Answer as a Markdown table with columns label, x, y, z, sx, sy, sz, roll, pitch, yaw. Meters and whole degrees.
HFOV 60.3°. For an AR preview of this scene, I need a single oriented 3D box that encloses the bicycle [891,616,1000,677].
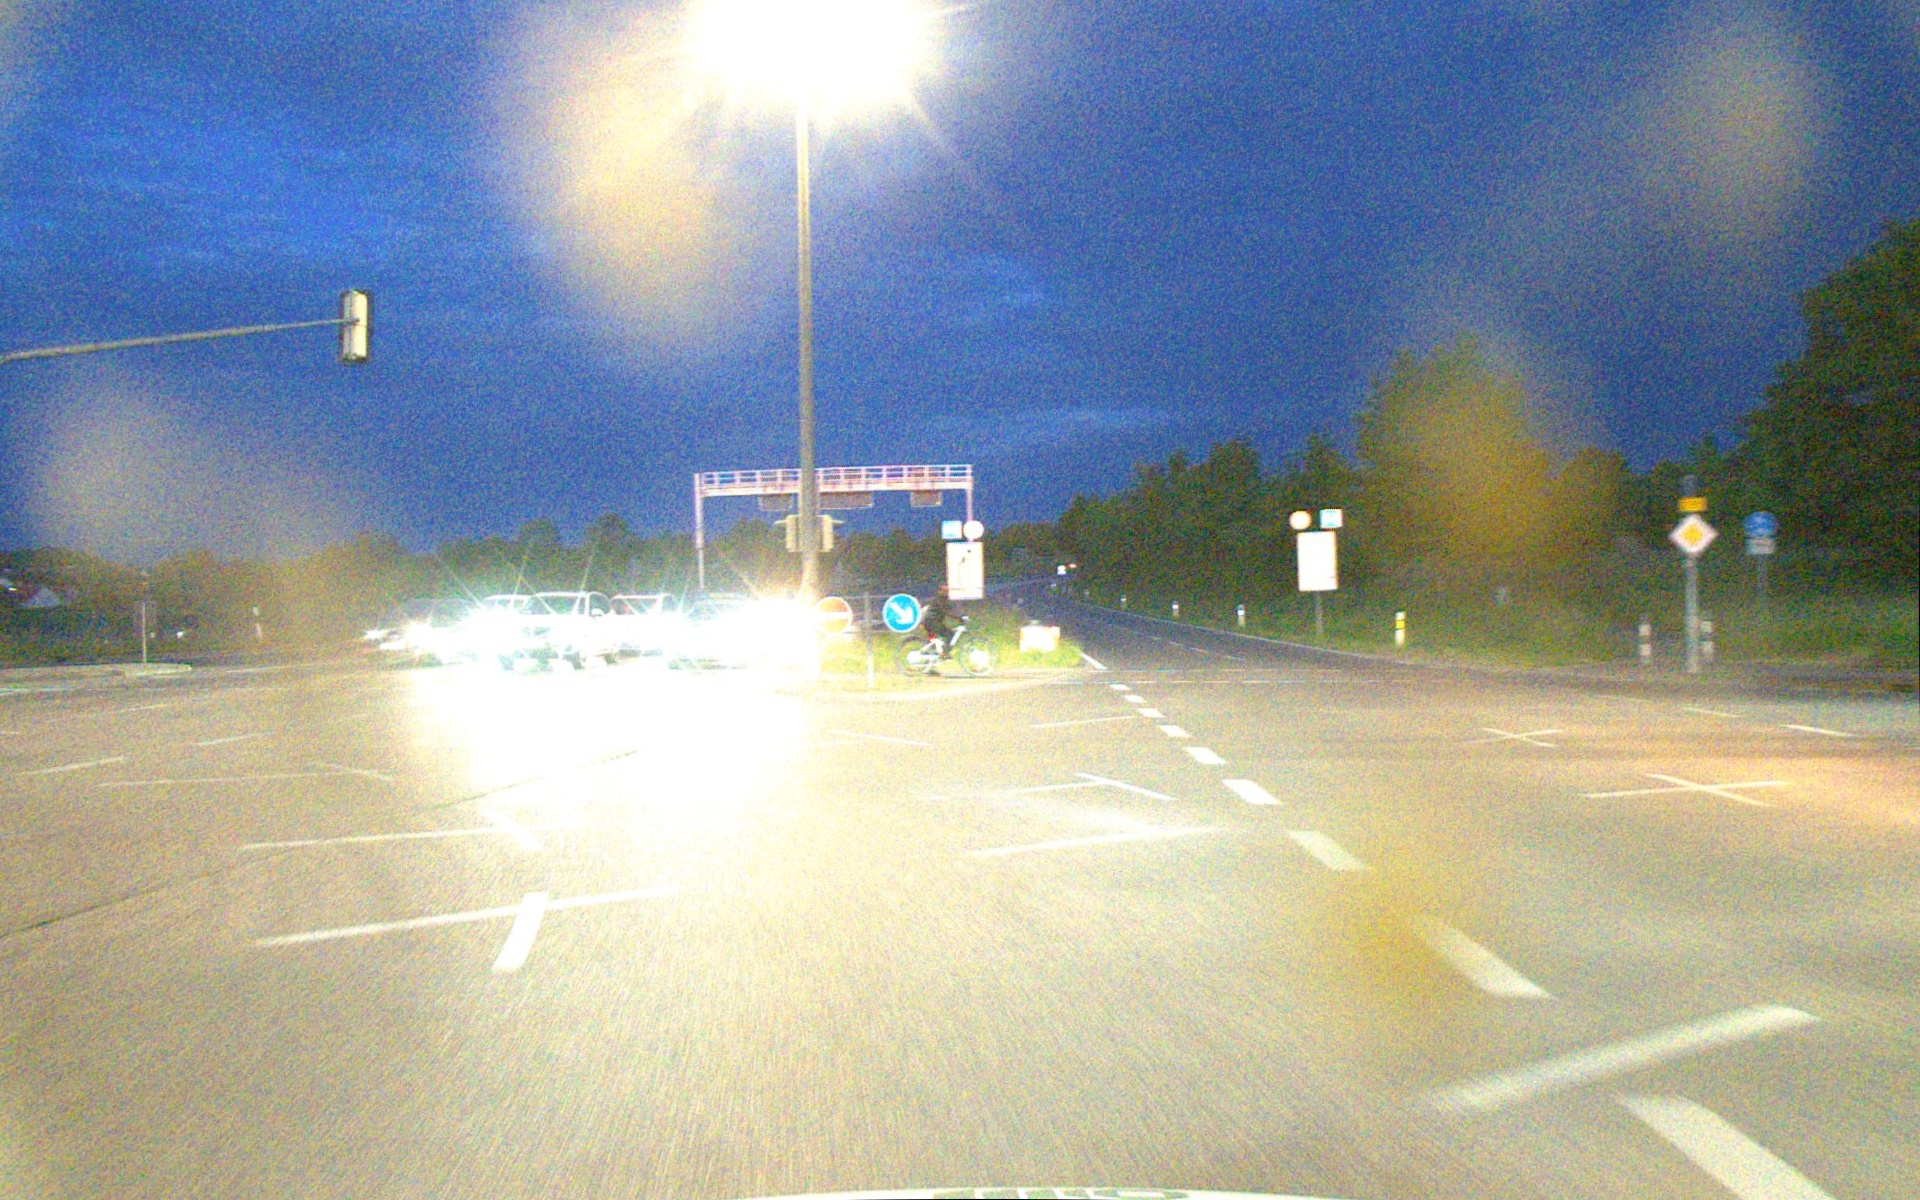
| label | x | y | z | sx | sy | sz | roll | pitch | yaw |
| --- | --- | --- | --- | --- | --- | --- | --- | --- | --- |
| bicycle | -0.283 | 0.863 | 31.022 | 2.020 | 1.120 | 0.694 | 0 | 0 | -4 |

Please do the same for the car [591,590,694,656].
| label | x | y | z | sx | sy | sz | roll | pitch | yaw |
| --- | --- | --- | --- | --- | --- | --- | --- | --- | --- |
| car | -8.461 | 0.572 | 44.399 | 1.709 | 1.655 | 4.364 | 0 | 0 | 3 |

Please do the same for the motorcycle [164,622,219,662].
| label | x | y | z | sx | sy | sz | roll | pitch | yaw |
| --- | --- | --- | --- | --- | --- | --- | --- | --- | --- |
| motorcycle | -24.824 | 1.363 | 53.482 | 0.830 | 1.202 | 1.821 | -4 | -2 | 1 |

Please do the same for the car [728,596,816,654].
| label | x | y | z | sx | sy | sz | roll | pitch | yaw |
| --- | --- | --- | --- | --- | --- | --- | --- | --- | --- |
| car | -5.080 | 0.655 | 45.127 | 1.736 | 1.507 | 3.912 | 0 | 0 | 3 |

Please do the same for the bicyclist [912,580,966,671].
| label | x | y | z | sx | sy | sz | roll | pitch | yaw |
| --- | --- | --- | --- | --- | --- | --- | --- | --- | --- |
| bicyclist | -0.396 | 0.473 | 31.032 | 0.977 | 1.680 | 0.603 | 0 | -1 | -4 |

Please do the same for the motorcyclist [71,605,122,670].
| label | x | y | z | sx | sy | sz | roll | pitch | yaw |
| --- | --- | --- | --- | --- | --- | --- | --- | --- | --- |
| motorcyclist | -25.727 | 1.127 | 49.288 | 0.895 | 1.840 | 0.871 | -6 | -3 | 12 |

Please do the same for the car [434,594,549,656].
| label | x | y | z | sx | sy | sz | roll | pitch | yaw |
| --- | --- | --- | --- | --- | --- | --- | --- | --- | --- |
| car | -12.511 | 0.631 | 44.401 | 1.793 | 1.551 | 4.001 | -1 | 0 | 2 |

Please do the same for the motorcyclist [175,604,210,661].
| label | x | y | z | sx | sy | sz | roll | pitch | yaw |
| --- | --- | --- | --- | --- | --- | --- | --- | --- | --- |
| motorcyclist | -24.821 | 1.052 | 53.516 | 0.668 | 1.790 | 0.790 | -4 | -2 | 1 |

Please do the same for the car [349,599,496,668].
| label | x | y | z | sx | sy | sz | roll | pitch | yaw |
| --- | --- | --- | --- | --- | --- | --- | --- | --- | --- |
| car | -12.366 | 0.730 | 38.316 | 1.743 | 1.471 | 4.293 | 0 | 0 | 4 |

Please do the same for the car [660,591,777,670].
| label | x | y | z | sx | sy | sz | roll | pitch | yaw |
| --- | --- | --- | --- | --- | --- | --- | --- | --- | --- |
| car | -5.401 | 0.641 | 37.543 | 1.813 | 1.661 | 4.587 | 0 | 0 | 2 |

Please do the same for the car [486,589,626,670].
| label | x | y | z | sx | sy | sz | roll | pitch | yaw |
| --- | --- | --- | --- | --- | --- | --- | --- | --- | --- |
| car | -8.996 | 0.602 | 37.201 | 1.868 | 1.711 | 4.422 | 0 | 0 | 3 |
